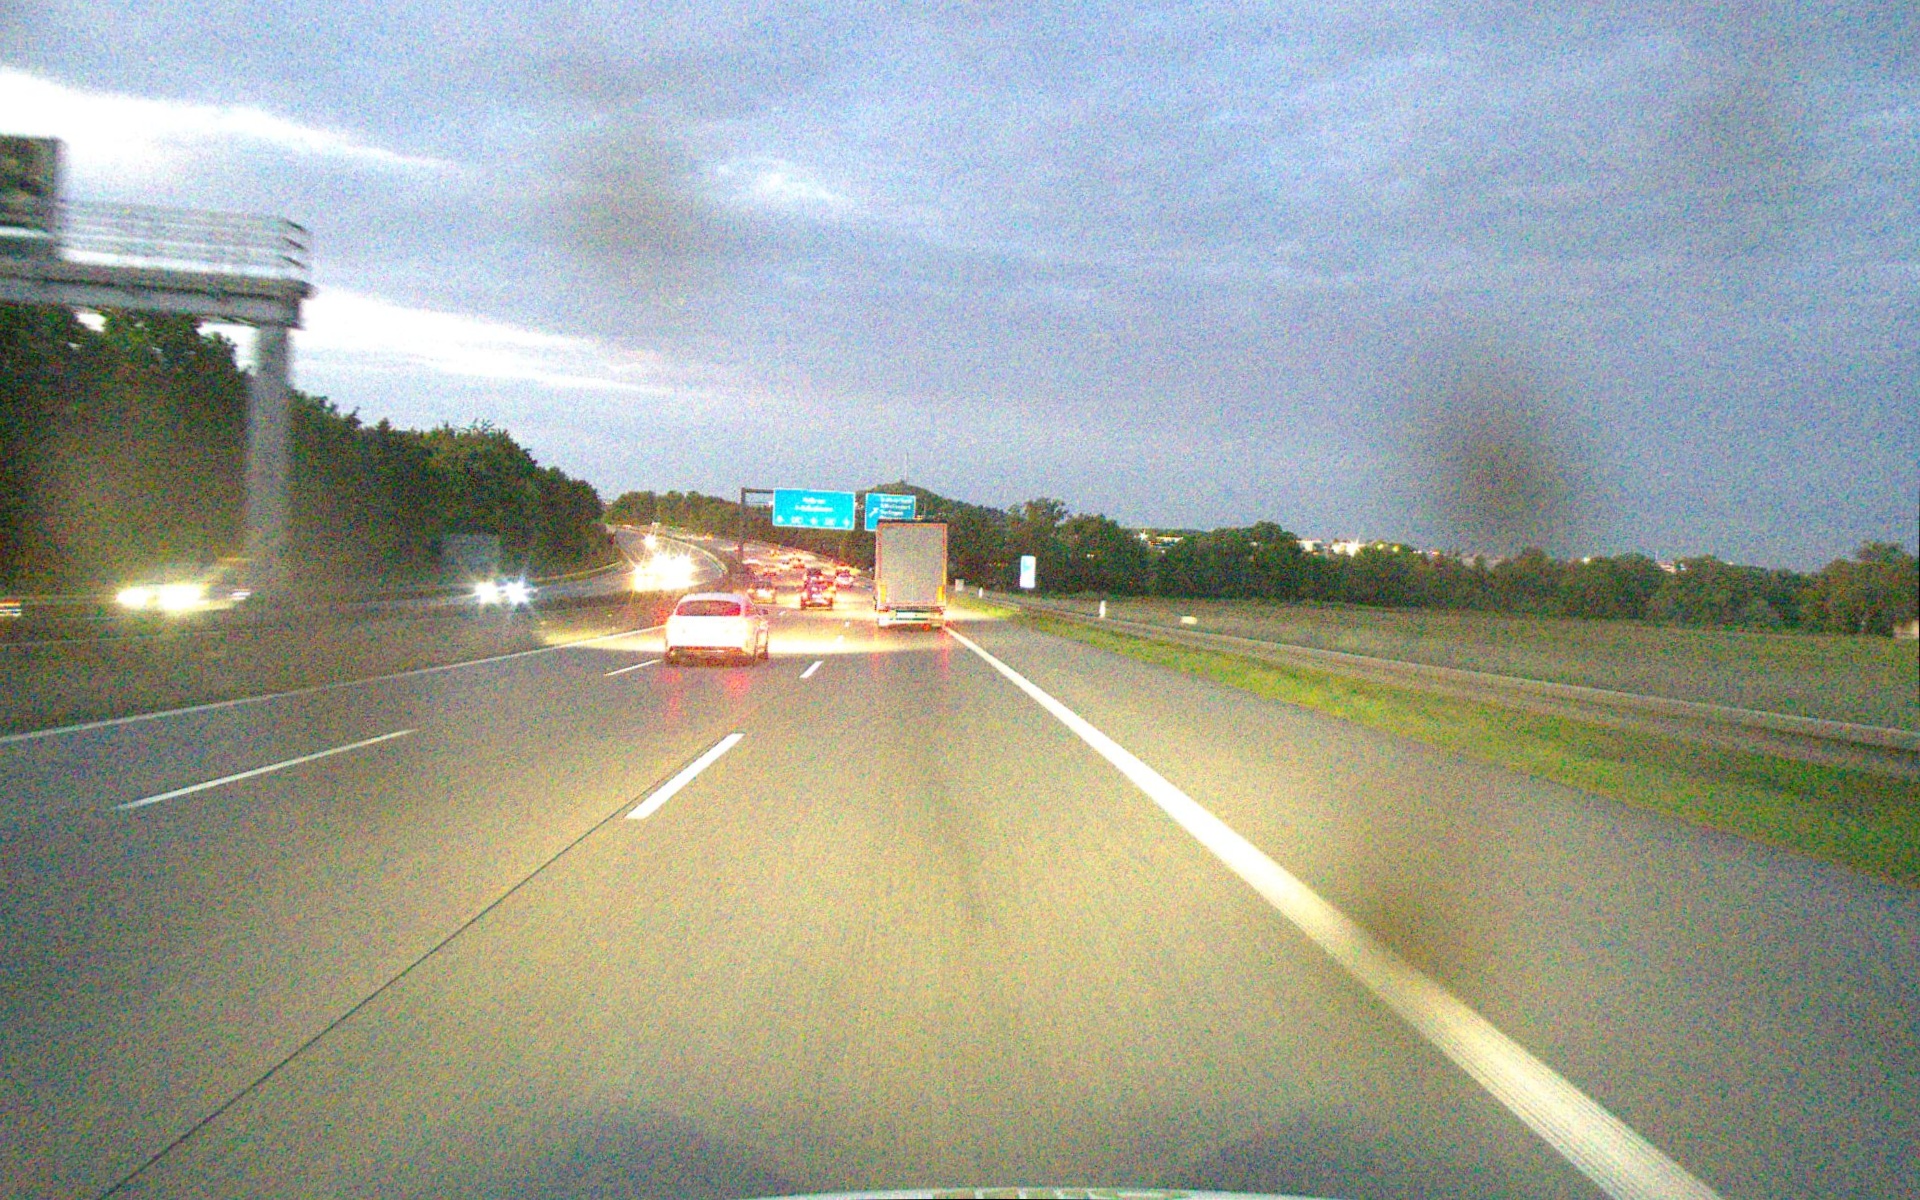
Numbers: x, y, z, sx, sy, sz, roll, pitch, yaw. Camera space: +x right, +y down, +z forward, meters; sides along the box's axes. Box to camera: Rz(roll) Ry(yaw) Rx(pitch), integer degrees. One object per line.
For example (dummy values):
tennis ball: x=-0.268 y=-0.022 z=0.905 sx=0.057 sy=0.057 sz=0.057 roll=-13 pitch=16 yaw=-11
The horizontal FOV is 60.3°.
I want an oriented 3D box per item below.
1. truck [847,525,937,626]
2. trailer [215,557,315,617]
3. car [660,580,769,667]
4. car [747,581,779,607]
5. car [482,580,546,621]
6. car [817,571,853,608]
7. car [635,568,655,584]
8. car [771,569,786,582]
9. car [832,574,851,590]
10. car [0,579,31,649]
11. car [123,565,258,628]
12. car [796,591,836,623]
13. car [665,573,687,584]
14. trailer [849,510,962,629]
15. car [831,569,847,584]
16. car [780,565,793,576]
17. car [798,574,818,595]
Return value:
truck: x=-3.078 y=-1.008 z=72.900 sx=3.482 sy=4.163 sz=6.143 roll=1 pitch=-1 yaw=-6
trailer: x=-25.343 y=-0.473 z=60.447 sx=1.874 sy=2.037 sz=4.239 roll=3 pitch=0 yaw=-2
car: x=-5.025 y=0.453 z=34.384 sx=1.869 sy=1.642 sz=4.799 roll=1 pitch=0 yaw=-5
car: x=-12.894 y=-0.399 z=108.418 sx=1.727 sy=1.602 sz=4.574 roll=1 pitch=0 yaw=-3
car: x=-22.393 y=0.025 z=83.273 sx=1.875 sy=1.900 sz=6.011 roll=1 pitch=0 yaw=-3
car: x=-8.626 y=-0.715 z=114.043 sx=1.958 sy=2.422 sz=3.989 roll=1 pitch=0 yaw=-11
car: x=-39.769 y=-2.995 z=209.176 sx=1.955 sy=1.926 sz=5.052 roll=1 pitch=0 yaw=-5
car: x=-25.029 y=-3.329 z=228.202 sx=1.954 sy=1.650 sz=3.997 roll=1 pitch=0 yaw=-4
car: x=-12.528 y=-1.869 z=174.762 sx=1.954 sy=1.561 sz=3.997 roll=1 pitch=0 yaw=-4
car: x=-19.542 y=0.254 z=30.915 sx=1.655 sy=1.378 sz=4.896 roll=1 pitch=0 yaw=-1
car: x=-24.962 y=-0.102 z=53.912 sx=1.874 sy=1.900 sz=5.522 roll=1 pitch=0 yaw=-1
car: x=-8.215 y=0.383 z=94.566 sx=2.024 sy=1.715 sz=4.574 roll=1 pitch=0 yaw=-3
car: x=-33.916 y=-2.561 z=197.450 sx=2.019 sy=1.247 sz=5.230 roll=1 pitch=0 yaw=-4
trailer: x=-2.465 y=-1.053 z=66.848 sx=3.482 sy=4.188 sz=15.043 roll=1 pitch=0 yaw=-6
car: x=-16.941 y=-3.251 z=231.472 sx=1.955 sy=2.012 sz=3.995 roll=1 pitch=0 yaw=-6
car: x=-26.995 y=-4.611 z=257.233 sx=1.956 sy=1.650 sz=3.994 roll=1 pitch=0 yaw=-7
car: x=-15.479 y=-1.565 z=168.634 sx=1.955 sy=2.049 sz=3.995 roll=1 pitch=0 yaw=-6
